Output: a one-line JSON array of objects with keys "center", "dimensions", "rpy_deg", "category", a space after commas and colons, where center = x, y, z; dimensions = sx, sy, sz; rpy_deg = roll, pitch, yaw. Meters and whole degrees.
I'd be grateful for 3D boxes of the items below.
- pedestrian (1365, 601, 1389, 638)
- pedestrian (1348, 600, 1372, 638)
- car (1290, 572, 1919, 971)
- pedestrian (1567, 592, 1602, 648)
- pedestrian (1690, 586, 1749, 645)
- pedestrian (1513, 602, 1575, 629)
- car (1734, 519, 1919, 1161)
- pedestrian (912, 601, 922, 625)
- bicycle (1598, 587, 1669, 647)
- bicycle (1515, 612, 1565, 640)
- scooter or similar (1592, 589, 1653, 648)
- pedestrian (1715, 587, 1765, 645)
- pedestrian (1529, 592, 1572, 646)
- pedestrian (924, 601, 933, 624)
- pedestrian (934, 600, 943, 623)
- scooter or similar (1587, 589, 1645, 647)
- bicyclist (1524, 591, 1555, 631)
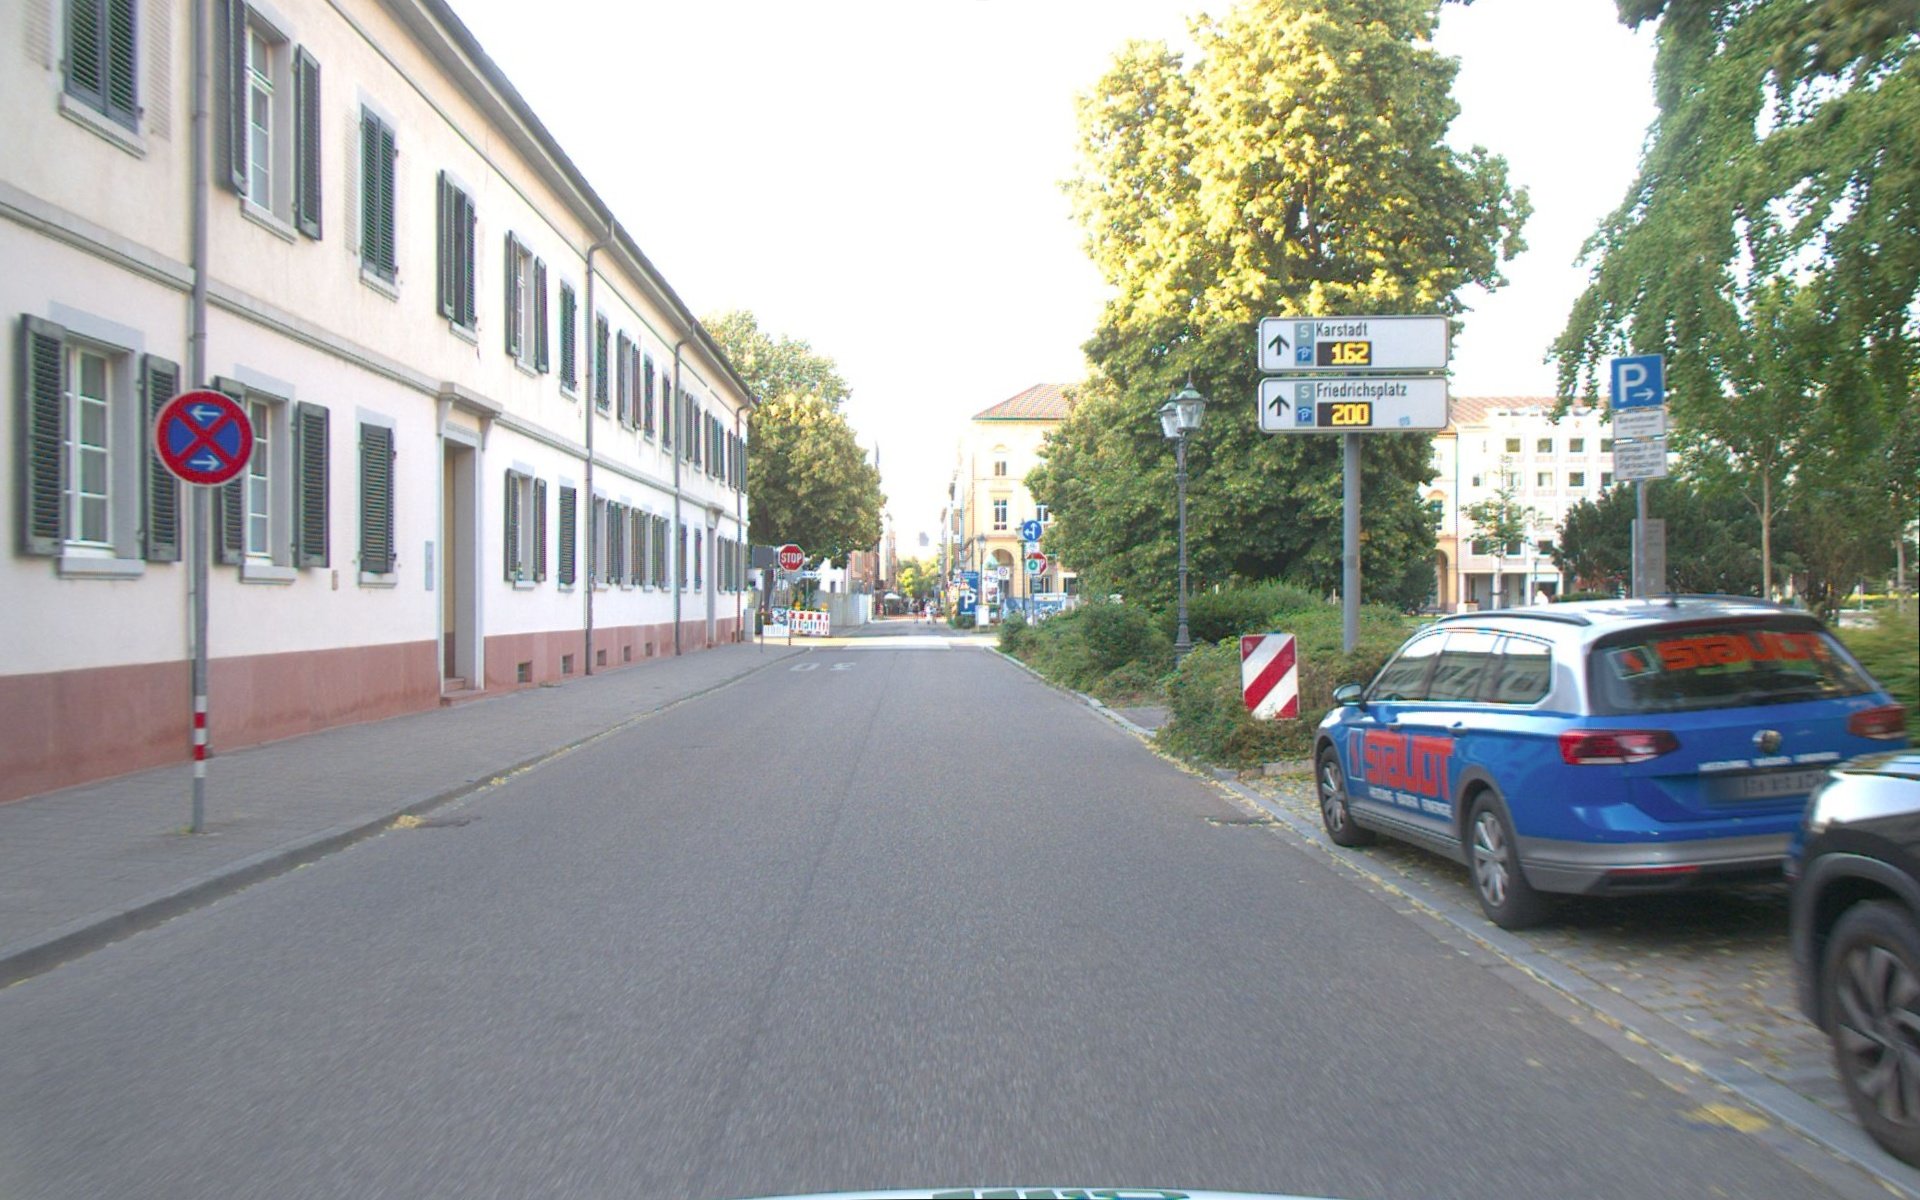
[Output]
[{"center": [15.297, 0.707, 60.670], "dimensions": [0.585, 1.365, 0.817], "rpy_deg": [0, -1, -7], "category": "pedestrian"}, {"center": [14.655, 0.695, 60.609], "dimensions": [0.585, 1.365, 0.817], "rpy_deg": [0, -1, -7], "category": "pedestrian"}, {"center": [3.273, 0.707, 9.107], "dimensions": [1.690, 1.514, 4.608], "rpy_deg": [-4, 0, -3], "category": "car"}, {"center": [13.891, 0.441, 36.786], "dimensions": [0.649, 1.212, 0.794], "rpy_deg": [-1, -1, 26], "category": "pedestrian"}, {"center": [18.116, 0.360, 39.461], "dimensions": [0.902, 1.371, 0.881], "rpy_deg": [-1, -1, -17], "category": "pedestrian"}, {"center": [13.182, 0.356, 37.365], "dimensions": [0.532, 0.559, 1.369], "rpy_deg": [-4, 0, -21], "category": "pedestrian"}, {"center": [3.312, 0.598, 2.989], "dimensions": [1.688, 1.680, 4.713], "rpy_deg": [-1, -1, 1], "category": "car"}, {"center": [-3.139, 0.939, 120.857], "dimensions": [0.644, 1.790, 0.745], "rpy_deg": [-1, 0, -1], "category": "pedestrian"}, {"center": [15.515, 0.388, 38.151], "dimensions": [0.607, 1.322, 2.016], "rpy_deg": [-1, 0, -6], "category": "bicycle"}, {"center": [24.150, 1.084, 68.882], "dimensions": [1.892, 1.141, 0.595], "rpy_deg": [0, 0, -11], "category": "bicycle"}, {"center": [14.511, 0.397, 36.226], "dimensions": [1.196, 1.267, 0.417], "rpy_deg": [-1, -1, -15], "category": "scooter or similar"}, {"center": [18.859, 0.386, 39.978], "dimensions": [0.747, 1.371, 0.784], "rpy_deg": [-1, -1, -18], "category": "pedestrian"}, {"center": [13.619, 0.442, 38.162], "dimensions": [0.707, 1.212, 0.747], "rpy_deg": [-1, 0, 2], "category": "pedestrian"}, {"center": [-2.270, 0.892, 119.115], "dimensions": [0.644, 1.645, 0.745], "rpy_deg": [-1, 0, -1], "category": "pedestrian"}, {"center": [-1.545, 0.861, 119.150], "dimensions": [0.644, 1.645, 0.745], "rpy_deg": [-1, 0, -1], "category": "pedestrian"}, {"center": [14.612, 0.393, 36.835], "dimensions": [1.197, 1.267, 0.416], "rpy_deg": [-1, -1, -18], "category": "scooter or similar"}, {"center": [24.131, 0.455, 68.900], "dimensions": [1.041, 1.661, 0.595], "rpy_deg": [0, 0, -11], "category": "bicyclist"}]
